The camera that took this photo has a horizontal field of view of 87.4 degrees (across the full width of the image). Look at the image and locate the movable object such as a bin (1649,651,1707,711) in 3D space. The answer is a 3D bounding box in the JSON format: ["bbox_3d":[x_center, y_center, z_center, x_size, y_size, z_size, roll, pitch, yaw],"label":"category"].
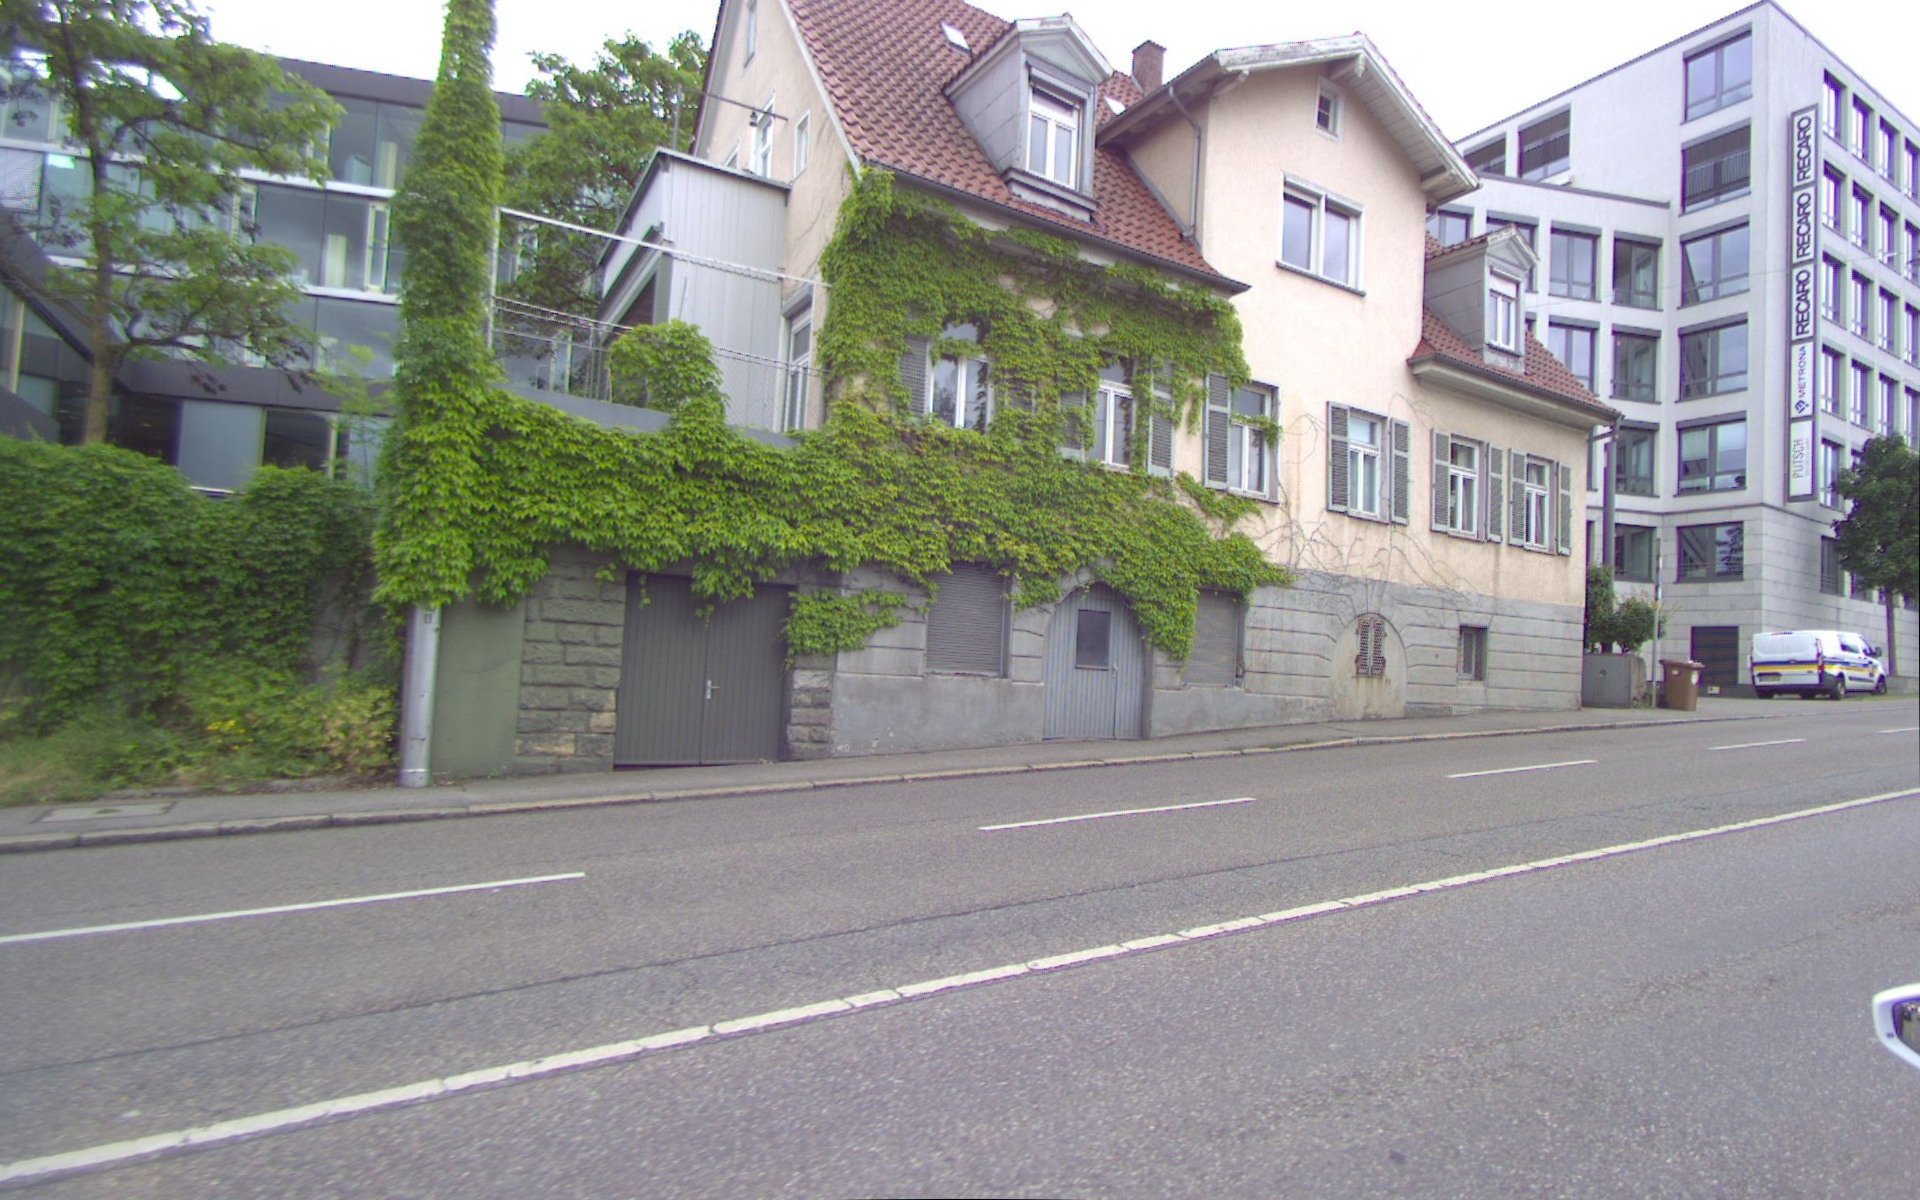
[{"bbox_3d":[15.575,1.750,21.796,0.692,1.205,0.804,1,2,-36],"label":"movable object such as a bin"}]

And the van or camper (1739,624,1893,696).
[{"bbox_3d":[25.692,1.814,30.106,4.818,1.993,2.050,2,-5,-31],"label":"van or camper"}]
